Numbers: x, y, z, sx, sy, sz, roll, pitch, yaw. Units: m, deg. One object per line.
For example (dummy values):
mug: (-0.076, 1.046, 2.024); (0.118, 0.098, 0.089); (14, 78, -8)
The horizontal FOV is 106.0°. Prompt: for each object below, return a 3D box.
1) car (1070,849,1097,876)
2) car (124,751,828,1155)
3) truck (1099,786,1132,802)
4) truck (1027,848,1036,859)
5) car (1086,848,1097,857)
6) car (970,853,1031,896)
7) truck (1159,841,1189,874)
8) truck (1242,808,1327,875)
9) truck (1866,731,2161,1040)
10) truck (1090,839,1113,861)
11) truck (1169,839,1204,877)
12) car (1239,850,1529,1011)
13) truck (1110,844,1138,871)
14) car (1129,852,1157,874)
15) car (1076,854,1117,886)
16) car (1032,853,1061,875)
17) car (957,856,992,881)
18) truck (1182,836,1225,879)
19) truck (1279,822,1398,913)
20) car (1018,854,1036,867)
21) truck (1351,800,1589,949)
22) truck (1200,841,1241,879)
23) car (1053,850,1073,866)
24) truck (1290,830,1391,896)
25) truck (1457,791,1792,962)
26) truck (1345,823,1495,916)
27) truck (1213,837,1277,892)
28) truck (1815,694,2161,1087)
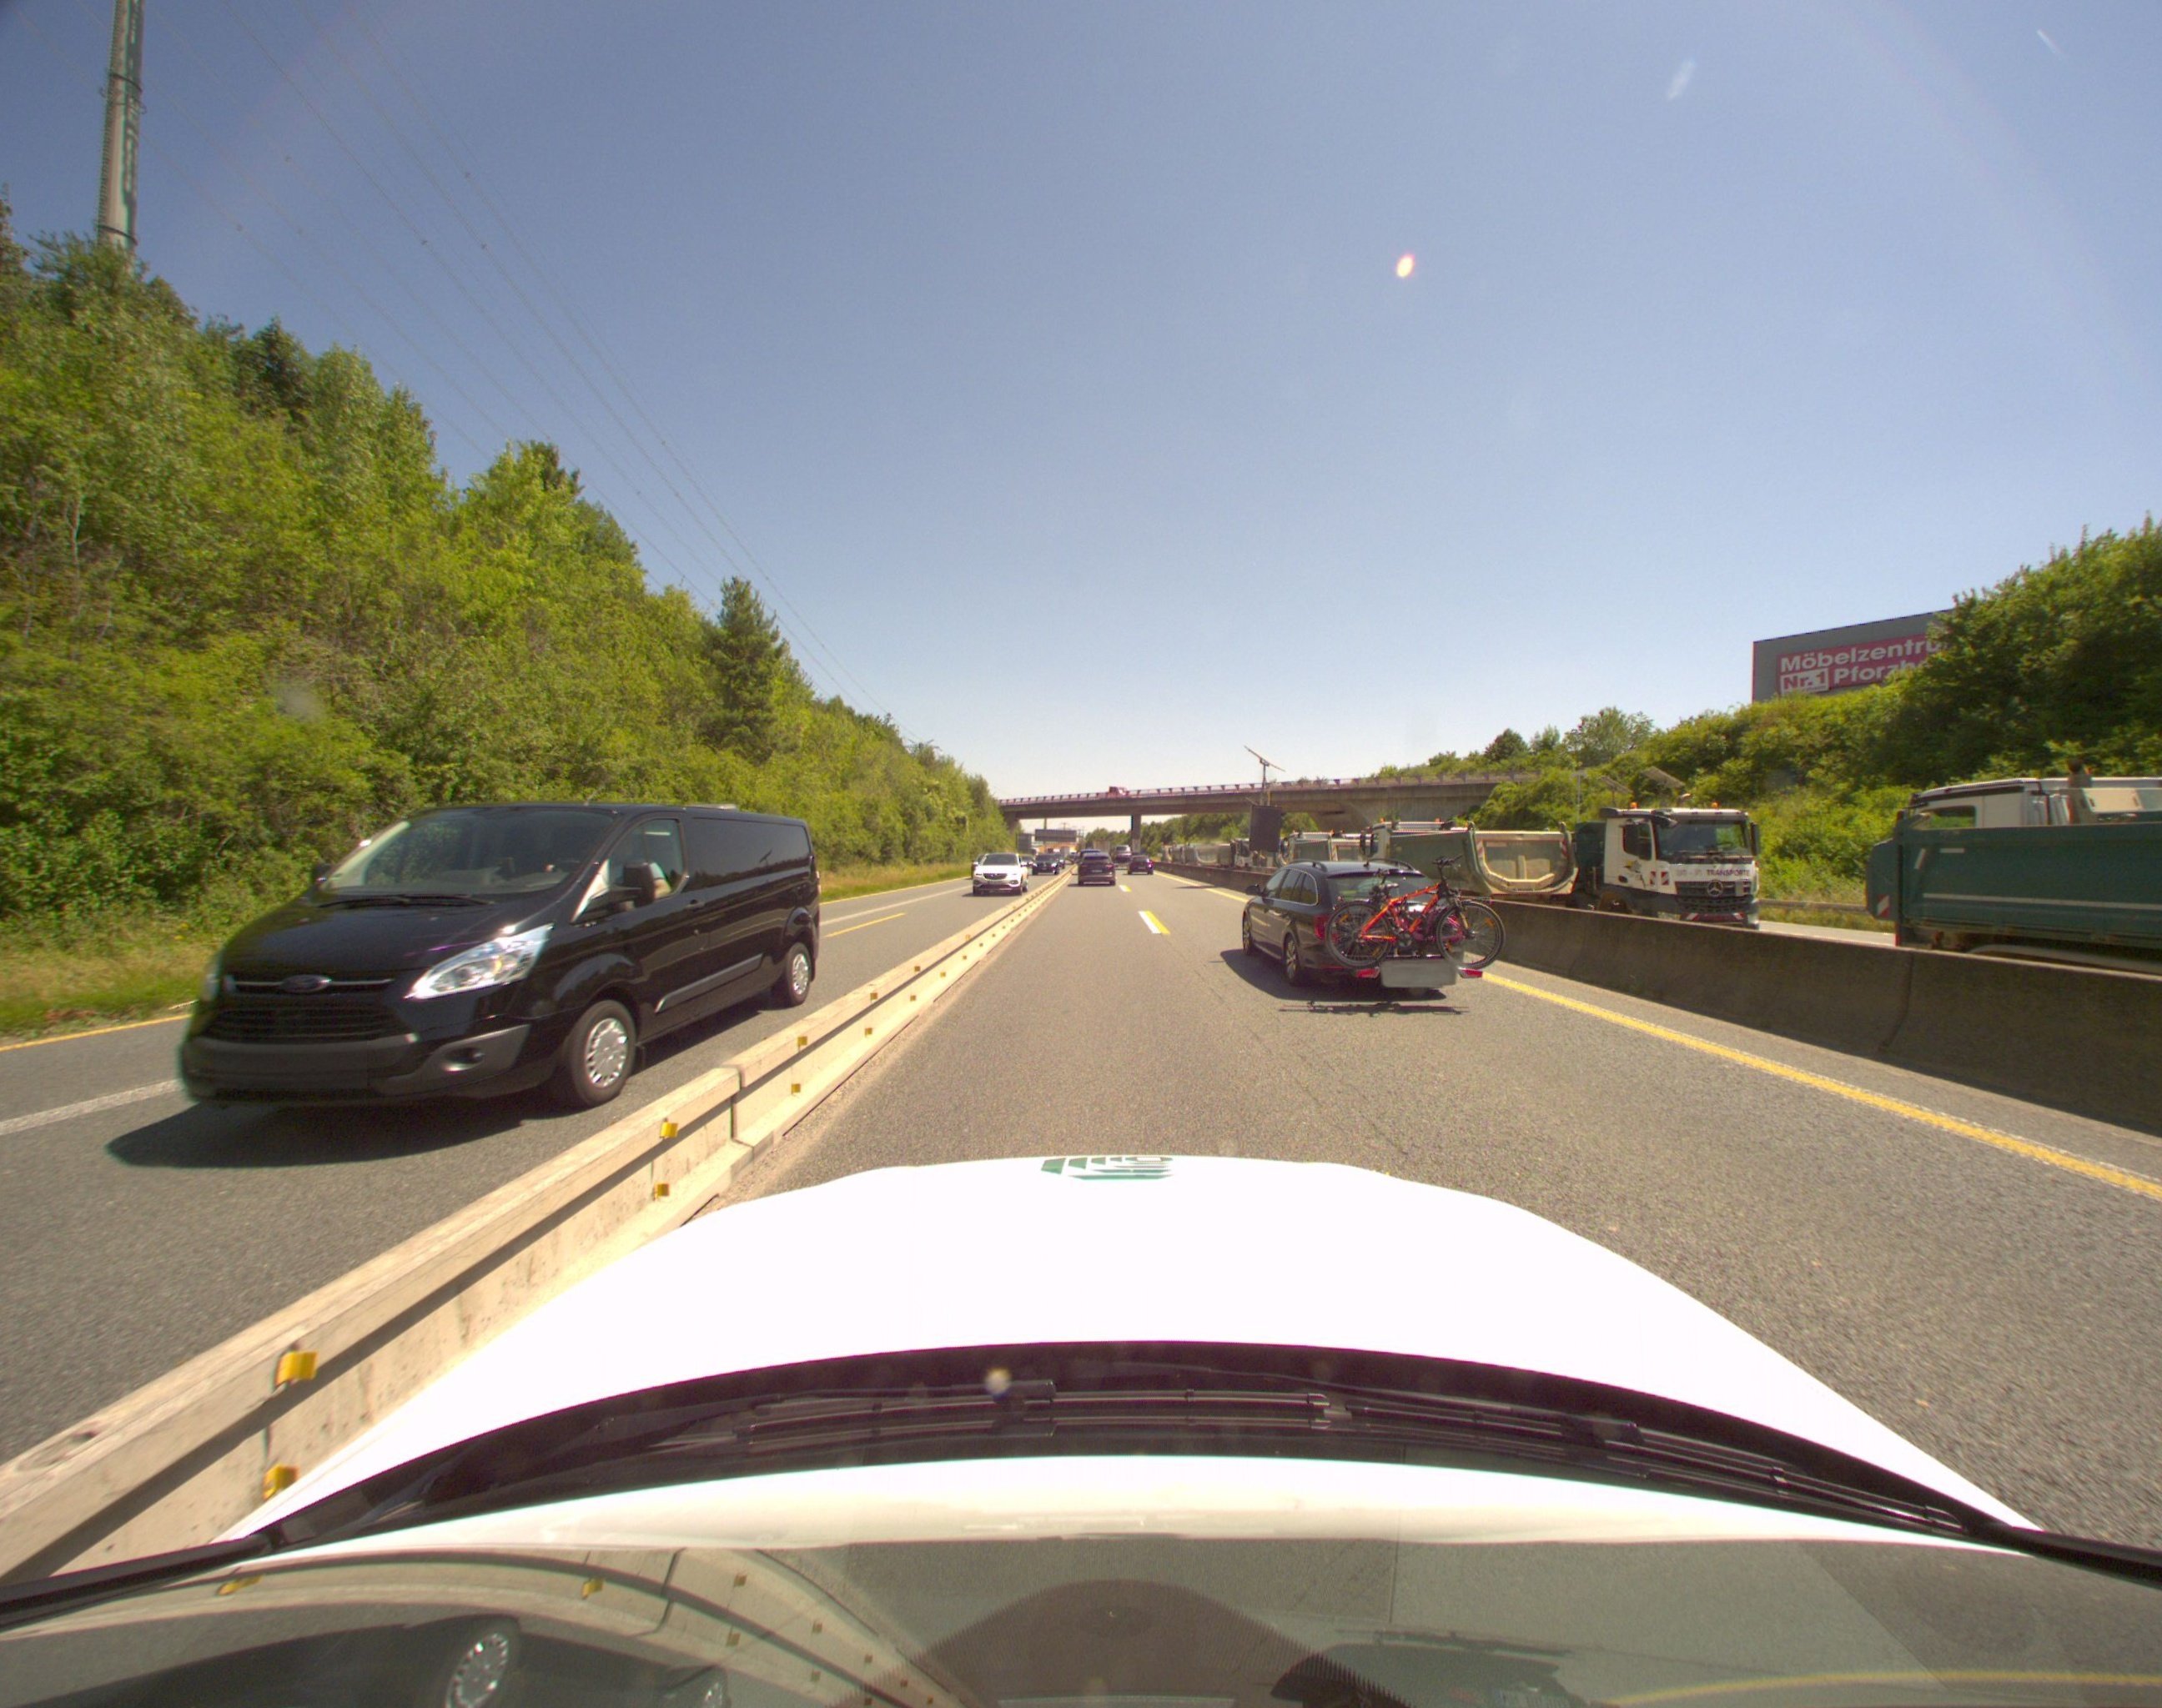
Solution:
car: (0.220, 0.662, 61.882); (1.892, 1.968, 4.278); (0, 0, 2)
car: (-3.773, 0.488, 6.479); (1.884, 2.013, 4.819); (0, 0, 2)
truck: (5.173, -9.012, 122.622); (1.945, 2.066, 5.456); (0, -1, -35)
truck: (-13.661, -0.149, 225.138); (2.503, 3.186, 10.095); (0, 0, -4)
car: (2.359, -0.258, 182.743); (1.896, 1.968, 4.268); (0, 0, -5)
car: (-3.075, 0.742, 31.941); (1.837, 1.533, 4.672); (0, 0, 1)
truck: (11.255, 0.381, 99.481); (2.678, 3.843, 9.325); (0, 0, 0)
truck: (11.733, -0.646, 47.907); (2.678, 3.557, 9.324); (0, 0, 0)
truck: (13.758, 0.366, 8.167); (2.677, 3.557, 9.604); (0, 0, 1)
truck: (3.636, -0.663, 147.788); (3.286, 3.845, 10.095); (0, 0, -4)
truck: (11.183, 0.398, 87.226); (2.678, 3.856, 9.325); (0, 0, 0)
car: (3.293, 0.728, 10.058); (1.892, 1.490, 4.949); (0, 0, 2)
truck: (4.284, 0.344, 81.982); (2.398, 2.558, 7.499); (0, 0, 0)
car: (4.573, 0.663, 60.749); (1.892, 1.585, 4.278); (0, 0, 2)
car: (0.793, 0.760, 40.400); (1.892, 1.505, 4.278); (0, 0, 2)
car: (-2.545, 0.747, 61.504); (1.837, 1.533, 4.672); (1, 0, 1)
car: (-6.808, 0.911, 52.414); (1.693, 1.565, 3.995); (0, 0, 1)
truck: (11.216, 0.299, 75.480); (2.678, 3.761, 9.325); (0, 0, 0)
truck: (11.268, 0.543, 36.712); (2.677, 3.557, 9.410); (0, 0, 2)
car: (-6.290, 0.741, 94.899); (1.717, 1.522, 4.186); (0, 0, 2)
truck: (10.882, 0.486, 24.238); (2.677, 3.557, 9.604); (0, 0, 1)
truck: (14.488, 0.565, 85.149); (2.678, 3.727, 9.324); (0, 0, 0)
car: (-1.892, 0.419, 86.223); (1.837, 1.610, 4.700); (1, 0, 1)
truck: (14.426, 0.469, 46.272); (2.679, 3.378, 9.601); (0, 0, 0)
truck: (13.527, 0.460, 21.742); (2.678, 3.557, 9.604); (0, 0, 1)
truck: (13.930, 0.572, 34.511); (2.677, 3.378, 9.607); (0, 0, 2)
truck: (11.414, 0.678, 57.694); (2.678, 3.557, 9.324); (0, 0, 0)
truck: (11.007, 0.328, 6.080); (2.529, 3.557, 9.604); (0, 0, 1)
